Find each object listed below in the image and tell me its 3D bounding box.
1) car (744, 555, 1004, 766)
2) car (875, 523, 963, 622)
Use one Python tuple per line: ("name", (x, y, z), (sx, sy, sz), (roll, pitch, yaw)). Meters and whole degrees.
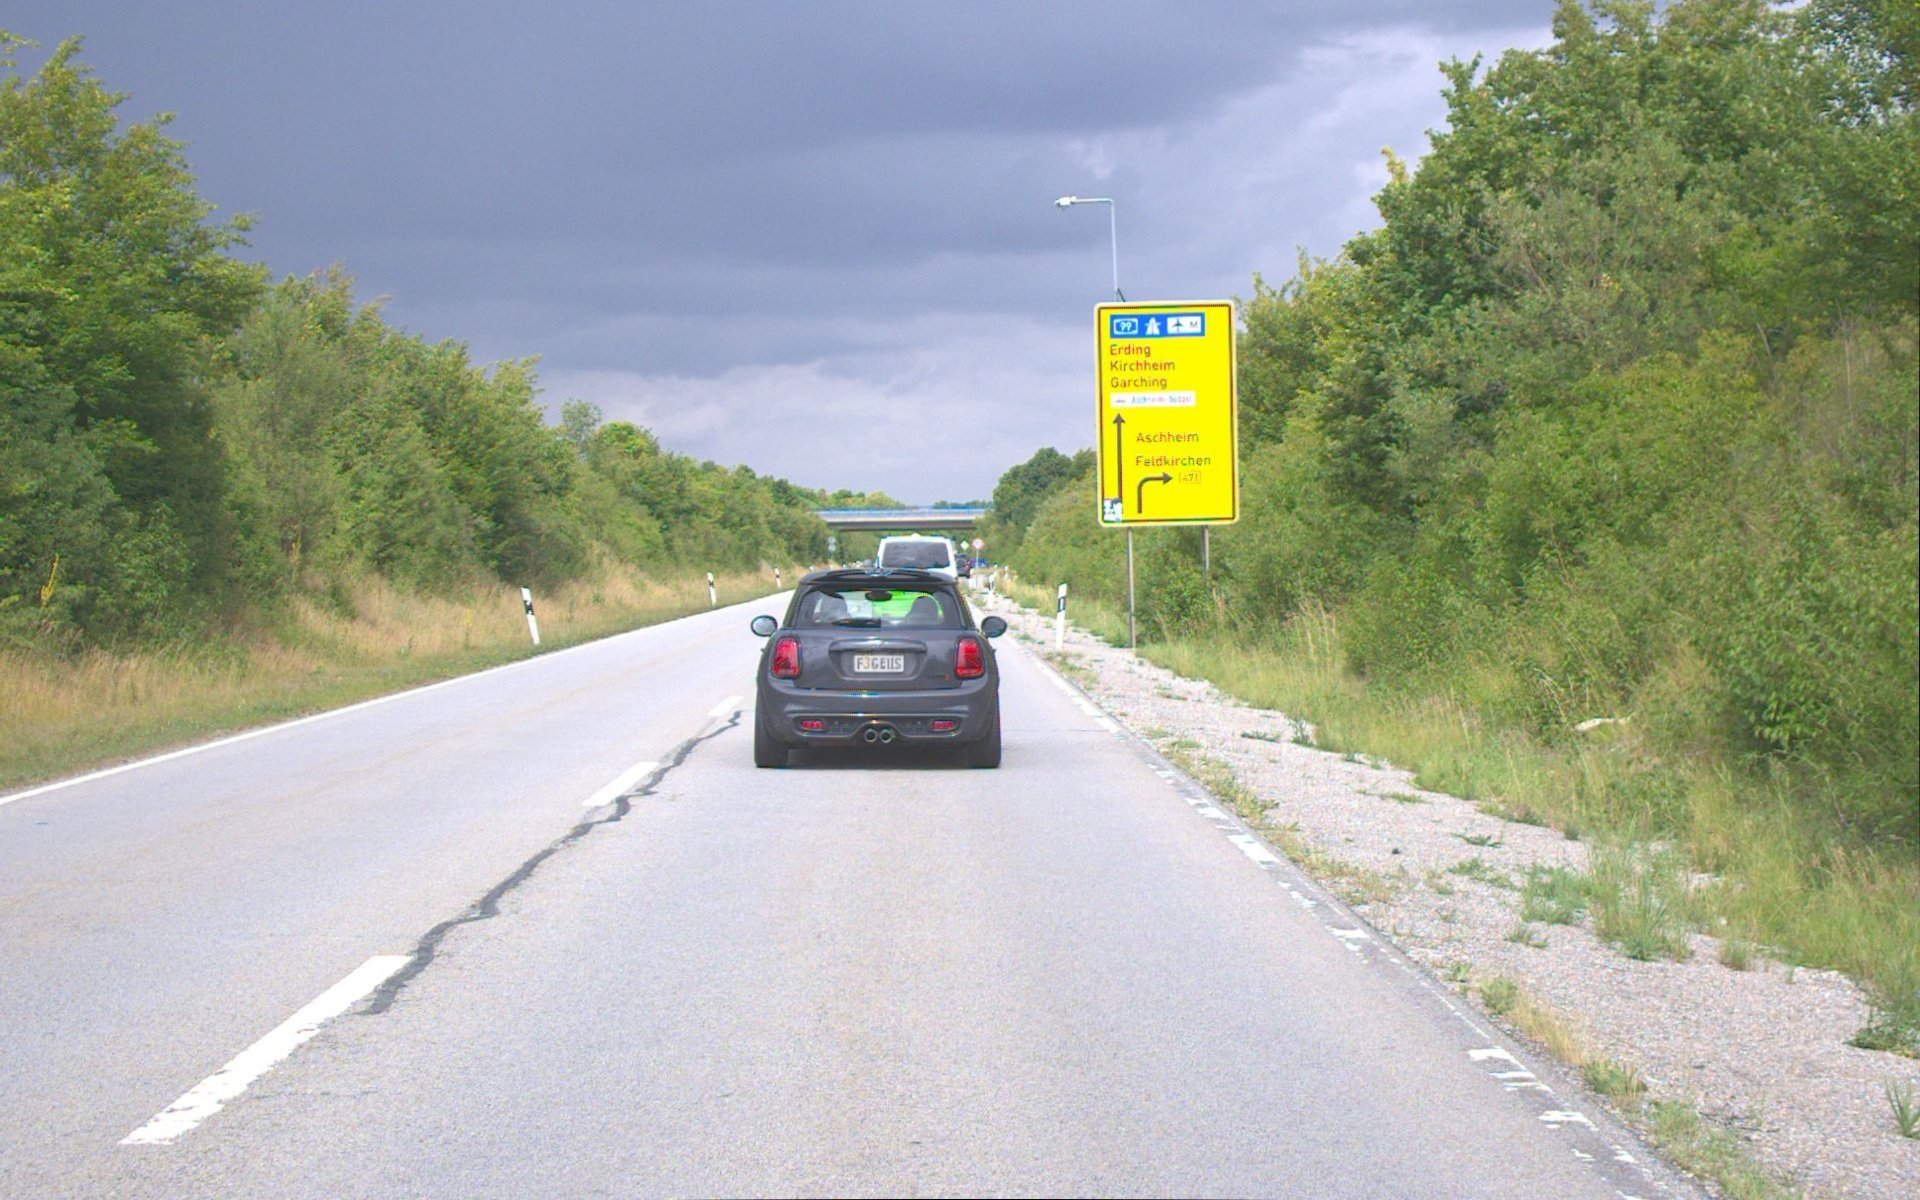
("car", (-0.621, 0.398, 25.604), (1.756, 1.422, 4.000), (1, 1, -1))
("car", (-0.888, -0.605, 74.133), (1.819, 2.047, 4.000), (1, 1, -1))
